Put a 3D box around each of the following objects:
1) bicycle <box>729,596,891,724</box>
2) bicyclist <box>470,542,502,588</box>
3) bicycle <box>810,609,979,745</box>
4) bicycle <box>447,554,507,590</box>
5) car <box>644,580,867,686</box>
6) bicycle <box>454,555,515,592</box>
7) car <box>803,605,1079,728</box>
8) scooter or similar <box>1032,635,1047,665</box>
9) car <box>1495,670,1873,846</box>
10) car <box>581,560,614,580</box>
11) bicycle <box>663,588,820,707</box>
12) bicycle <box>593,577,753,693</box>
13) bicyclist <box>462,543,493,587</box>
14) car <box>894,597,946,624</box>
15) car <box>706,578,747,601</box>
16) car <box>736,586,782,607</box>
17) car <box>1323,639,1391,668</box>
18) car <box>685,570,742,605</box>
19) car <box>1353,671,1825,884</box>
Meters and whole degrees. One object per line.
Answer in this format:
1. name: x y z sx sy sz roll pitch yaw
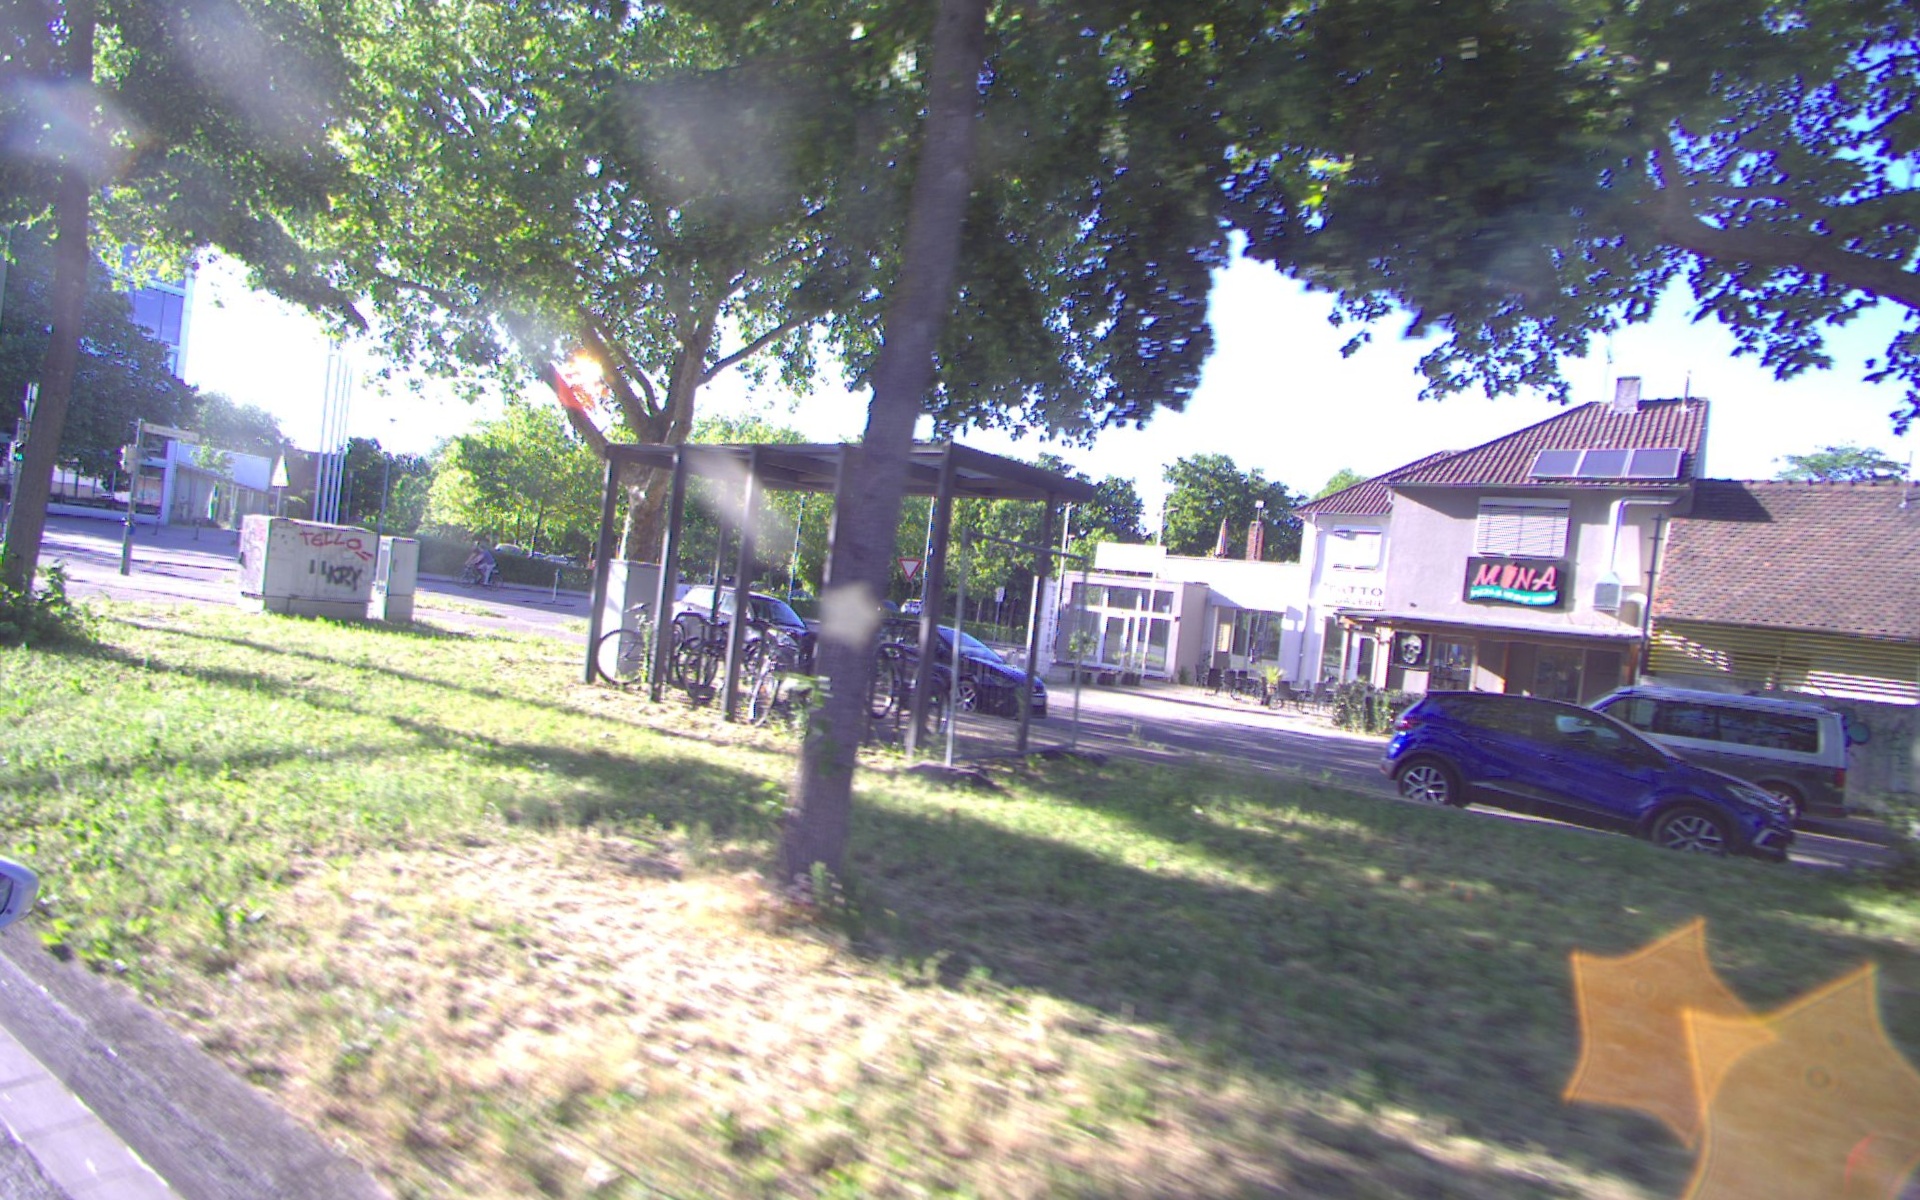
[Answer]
1. bicycle: -1.515 0.651 10.456 0.542 1.183 1.698 7 -1 34
2. bicyclist: -19.345 -1.438 41.080 0.870 1.759 0.823 6 1 -38
3. bicycle: -0.602 0.786 9.983 0.542 1.183 1.804 7 -1 35
4. bicycle: -20.019 -1.145 41.755 2.087 1.218 0.545 7 1 -39
5. car: -3.999 0.622 19.501 3.973 1.482 1.895 7 -1 35
6. bicycle: -19.414 -1.079 41.072 2.086 1.218 0.545 7 1 -38
7. car: -0.386 1.092 17.023 4.279 1.428 1.895 7 -1 36
8. scooter or similar: 3.242 2.035 41.086 0.257 1.178 1.010 7 0 -10
9. car: 12.450 2.599 17.743 4.989 2.063 1.894 7 1 34
10. car: -34.018 -2.828 94.404 1.981 1.482 3.965 9 -1 -33
11. bicycle: -2.405 0.567 11.274 0.542 1.183 1.698 7 -1 34
12. bicycle: -3.354 0.443 11.883 0.543 1.183 1.695 7 -1 40
13. bicyclist: -20.015 -1.464 41.757 0.870 1.674 0.785 6 1 -38
14. car: -3.421 0.912 86.366 3.981 1.481 1.976 13 -3 -42
15. car: -19.325 -0.903 83.218 1.981 1.482 3.965 9 -1 -33
16. car: -19.546 -0.353 97.989 1.968 1.482 3.991 8 -1 35
17. car: 27.380 3.696 69.352 4.427 1.483 1.983 7 0 -32
18. car: -13.750 -0.721 55.935 1.978 1.482 3.971 8 -1 -29
19. car: 7.169 1.912 11.837 4.280 1.506 1.895 7 -1 37
